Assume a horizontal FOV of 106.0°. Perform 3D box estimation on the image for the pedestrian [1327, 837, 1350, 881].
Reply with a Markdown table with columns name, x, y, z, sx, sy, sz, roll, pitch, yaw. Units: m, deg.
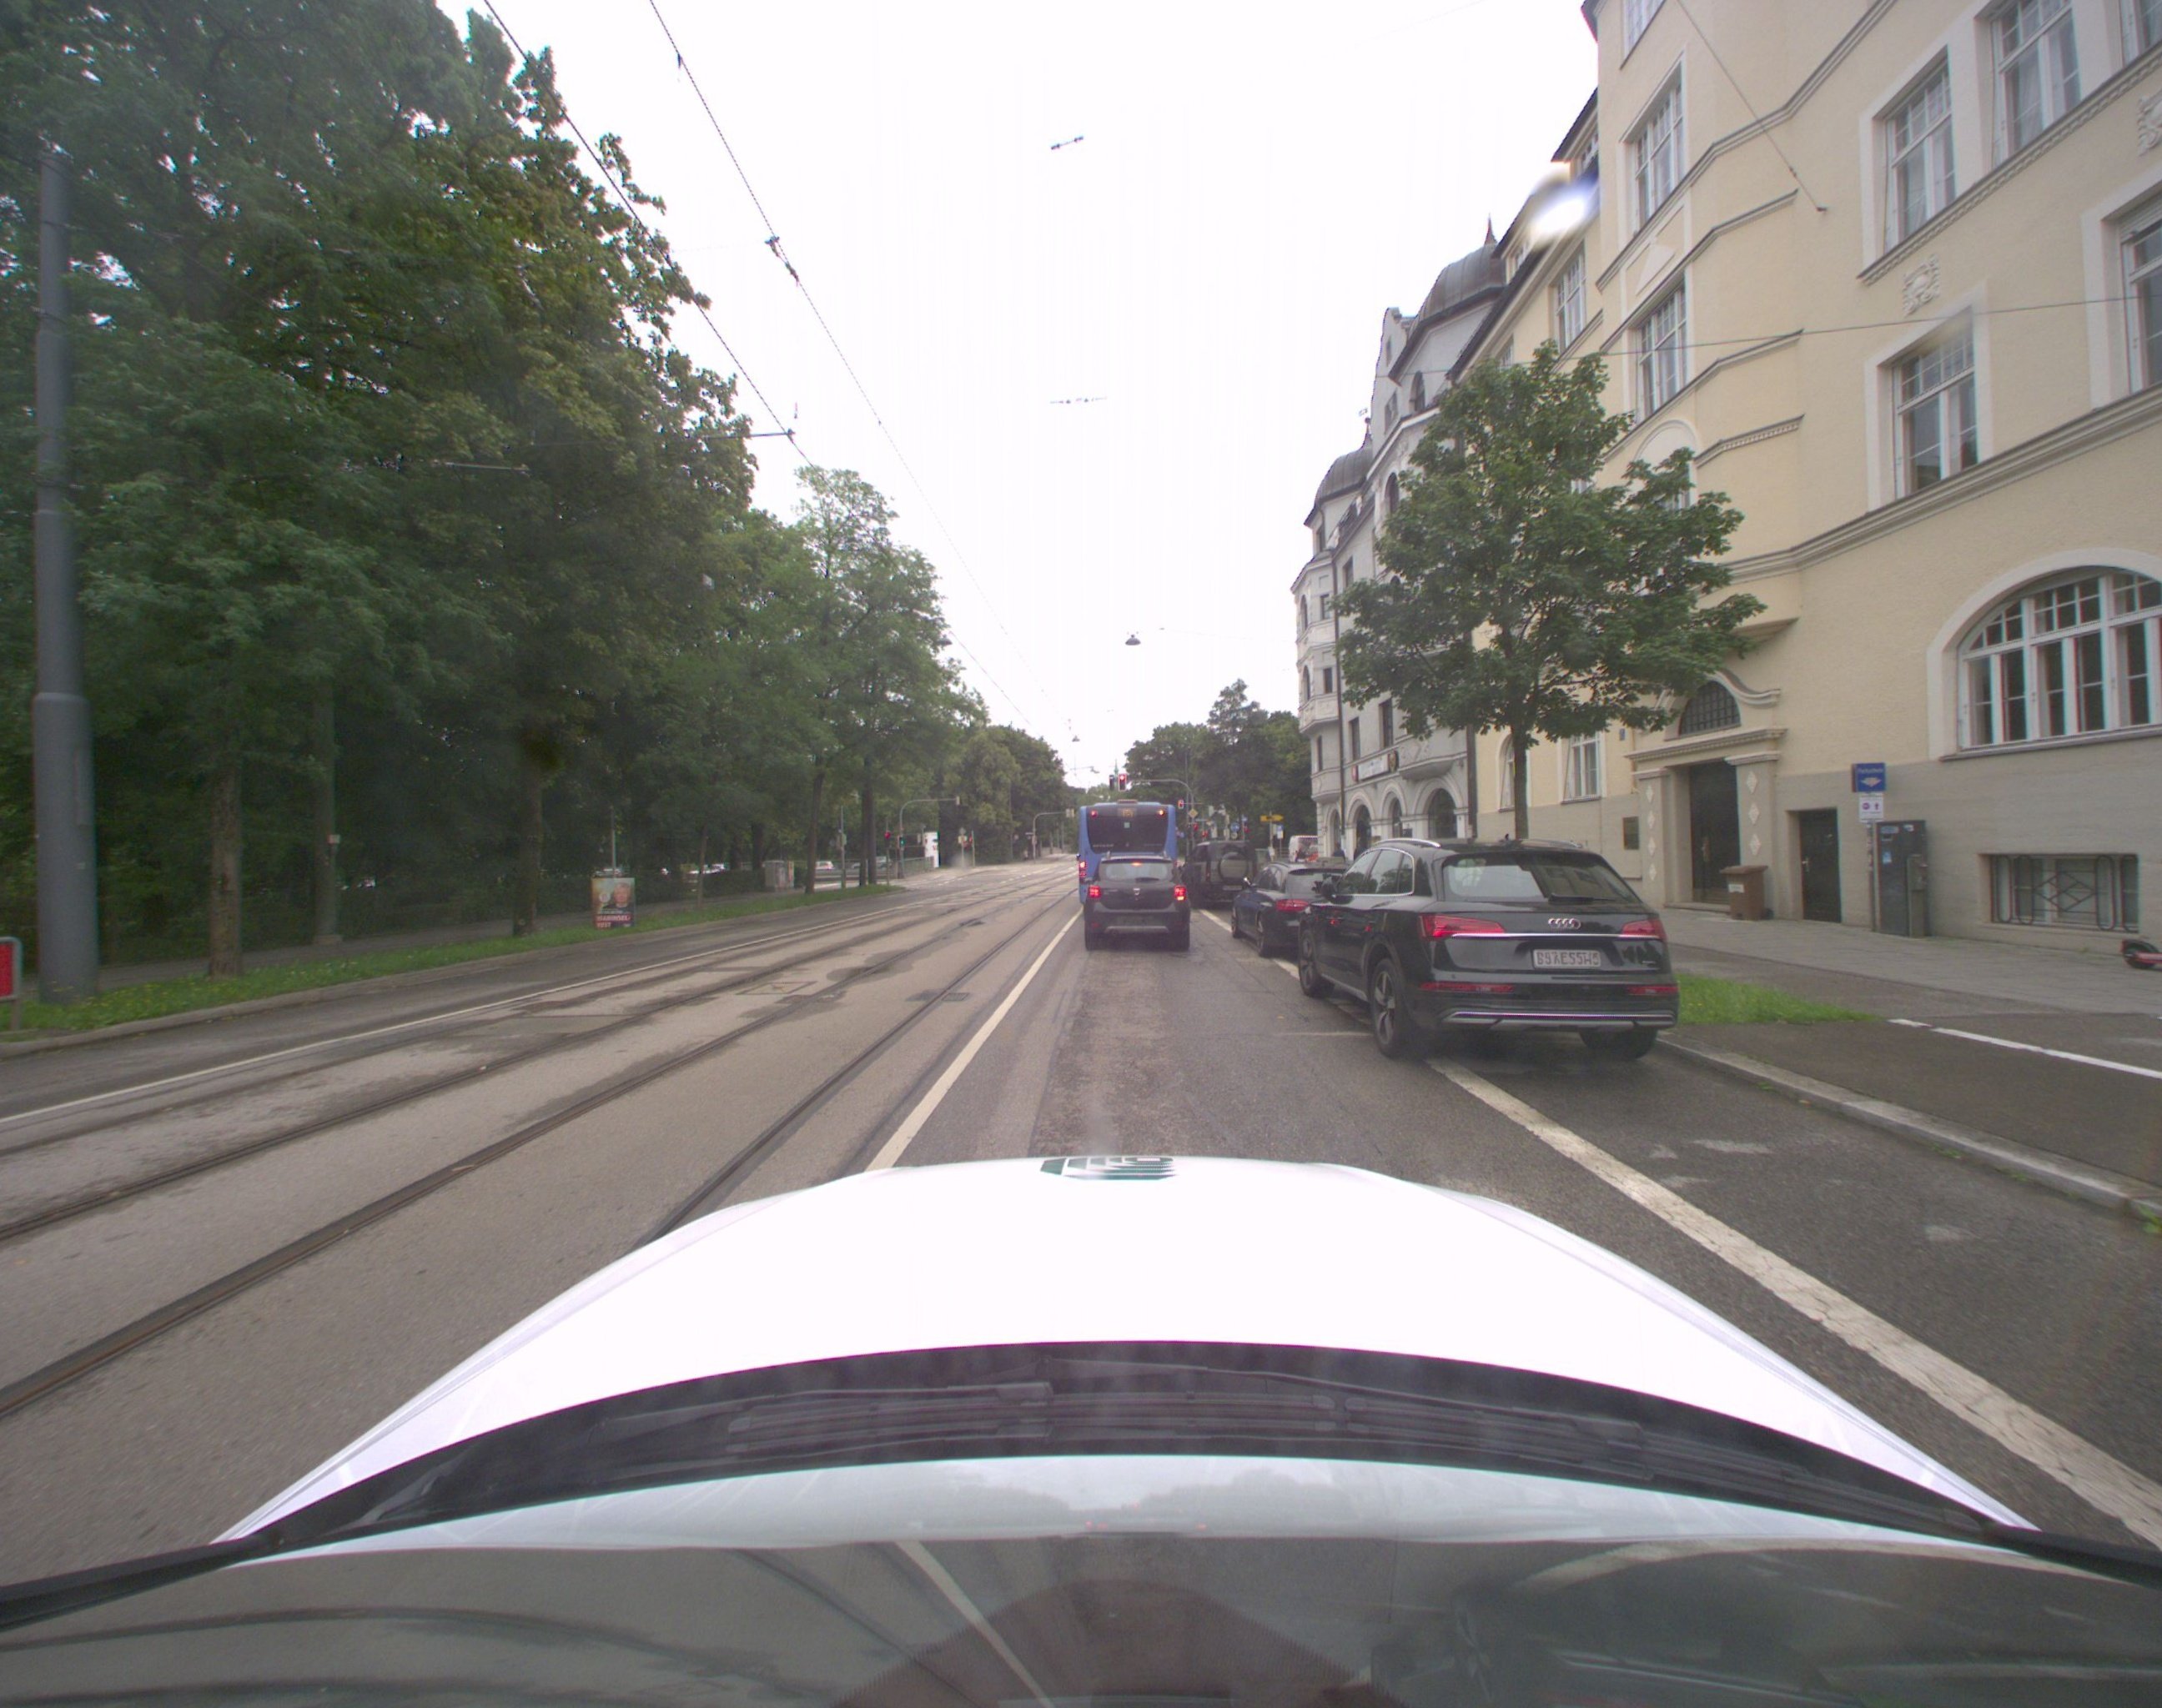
| name | x | y | z | sx | sy | sz | roll | pitch | yaw |
| --- | --- | --- | --- | --- | --- | --- | --- | --- | --- |
| pedestrian | 10.639 | 0.213 | 33.635 | 0.702 | 1.816 | 0.870 | 0 | -1 | 3 |

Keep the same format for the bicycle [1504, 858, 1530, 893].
| name | x | y | z | sx | sy | sz | roll | pitch | yaw |
| --- | --- | --- | --- | --- | --- | --- | --- | --- | --- |
| bicycle | 11.802 | 0.582 | 22.045 | 0.271 | 0.930 | 0.887 | 0 | 0 | 4 |

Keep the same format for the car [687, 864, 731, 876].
| name | x | y | z | sx | sy | sz | roll | pitch | yaw |
| --- | --- | --- | --- | --- | --- | --- | --- | --- | --- |
| car | -37.169 | 1.566 | 81.422 | 3.719 | 1.185 | 1.249 | 0 | 0 | -3 |

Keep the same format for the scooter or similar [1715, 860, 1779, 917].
| name | x | y | z | sx | sy | sz | roll | pitch | yaw |
| --- | --- | --- | --- | --- | --- | --- | --- | --- | --- |
| scooter or similar | 11.429 | 0.584 | 13.997 | 0.658 | 0.946 | 0.547 | 0 | -1 | 4 |

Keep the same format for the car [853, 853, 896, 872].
| name | x | y | z | sx | sy | sz | roll | pitch | yaw |
| --- | --- | --- | --- | --- | --- | --- | --- | --- | --- |
| car | -20.788 | 0.889 | 82.058 | 4.014 | 1.887 | 1.488 | 0 | 0 | -4 |

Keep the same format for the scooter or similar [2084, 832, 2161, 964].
| name | x | y | z | sx | sy | sz | roll | pitch | yaw |
| --- | --- | --- | --- | --- | --- | --- | --- | --- | --- |
| scooter or similar | 10.841 | 0.434 | 8.141 | 0.260 | 1.313 | 1.143 | 0 | 0 | 3 |

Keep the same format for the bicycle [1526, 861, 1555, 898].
| name | x | y | z | sx | sy | sz | roll | pitch | yaw |
| --- | --- | --- | --- | --- | --- | --- | --- | --- | --- |
| bicycle | 11.673 | 0.635 | 20.711 | 0.284 | 0.930 | 0.887 | 0 | 0 | 4 |

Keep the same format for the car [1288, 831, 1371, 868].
| name | x | y | z | sx | sy | sz | roll | pitch | yaw |
| --- | --- | --- | --- | --- | --- | --- | --- | --- | --- |
| car | 17.804 | -0.297 | 58.558 | 5.278 | 2.612 | 2.230 | 0 | 0 | 0 |

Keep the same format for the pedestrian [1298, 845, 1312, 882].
| name | x | y | z | sx | sy | sz | roll | pitch | yaw |
| --- | --- | --- | --- | --- | --- | --- | --- | --- | --- |
| pedestrian | 12.384 | 0.504 | 45.036 | 0.668 | 2.014 | 0.718 | 0 | -1 | 10 |

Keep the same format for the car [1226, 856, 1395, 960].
| name | x | y | z | sx | sy | sz | roll | pitch | yaw |
| --- | --- | --- | --- | --- | --- | --- | --- | --- | --- |
| car | 3.563 | 0.758 | 13.521 | 1.709 | 1.426 | 4.605 | 0 | 0 | 2 |

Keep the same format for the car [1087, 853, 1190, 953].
| name | x | y | z | sx | sy | sz | roll | pitch | yaw |
| --- | --- | --- | --- | --- | --- | --- | --- | --- | --- |
| car | 0.968 | 0.772 | 14.408 | 1.594 | 1.556 | 3.527 | 0 | 0 | 2 |

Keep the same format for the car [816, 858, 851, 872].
| name | x | y | z | sx | sy | sz | roll | pitch | yaw |
| --- | --- | --- | --- | --- | --- | --- | --- | --- | --- |
| car | -24.899 | 1.100 | 81.856 | 3.102 | 1.452 | 1.249 | 0 | 0 | -2 |

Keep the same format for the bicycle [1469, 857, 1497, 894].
| name | x | y | z | sx | sy | sz | roll | pitch | yaw |
| --- | --- | --- | --- | --- | --- | --- | --- | --- | --- |
| bicycle | 11.544 | 0.594 | 23.400 | 0.241 | 1.039 | 1.224 | 0 | 0 | 3 |

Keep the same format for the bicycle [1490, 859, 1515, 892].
| name | x | y | z | sx | sy | sz | roll | pitch | yaw |
| --- | --- | --- | --- | --- | --- | --- | --- | --- | --- |
| bicycle | 11.914 | 0.597 | 23.012 | 0.304 | 0.930 | 0.887 | 0 | 0 | 5 |

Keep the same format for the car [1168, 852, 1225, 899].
| name | x | y | z | sx | sy | sz | roll | pitch | yaw |
| --- | --- | --- | --- | --- | --- | --- | --- | --- | --- |
| car | 4.148 | 0.740 | 29.768 | 1.707 | 1.591 | 4.330 | 0 | 0 | 3 |

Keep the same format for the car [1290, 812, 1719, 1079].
| name | x | y | z | sx | sy | sz | roll | pitch | yaw |
| --- | --- | --- | --- | --- | --- | --- | --- | --- | --- |
| car | 3.222 | 0.585 | 7.356 | 1.767 | 1.658 | 4.492 | 0 | 0 | 4 |

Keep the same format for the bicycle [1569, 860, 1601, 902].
| name | x | y | z | sx | sy | sz | roll | pitch | yaw |
| --- | --- | --- | --- | --- | --- | --- | --- | --- | --- |
| bicycle | 11.621 | 0.613 | 18.782 | 0.220 | 0.930 | 0.886 | 0 | 0 | 2 |

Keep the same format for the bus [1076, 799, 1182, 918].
| name | x | y | z | sx | sy | sz | roll | pitch | yaw |
| --- | --- | --- | --- | --- | --- | --- | --- | --- | --- |
| bus | 1.279 | 0.126 | 23.970 | 2.669 | 2.997 | 6.962 | 0 | 0 | 1 |

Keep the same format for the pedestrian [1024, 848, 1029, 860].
| name | x | y | z | sx | sy | sz | roll | pitch | yaw |
| --- | --- | --- | --- | --- | --- | --- | --- | --- | --- |
| pedestrian | -6.587 | 0.005 | 98.583 | 0.529 | 1.501 | 0.589 | 0 | -1 | 7 |

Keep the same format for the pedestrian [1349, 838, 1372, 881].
| name | x | y | z | sx | sy | sz | roll | pitch | yaw |
| --- | --- | --- | --- | --- | --- | --- | --- | --- | --- |
| pedestrian | 11.537 | 0.230 | 33.629 | 0.702 | 1.732 | 0.843 | 0 | -1 | 3 |

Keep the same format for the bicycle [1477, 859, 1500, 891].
| name | x | y | z | sx | sy | sz | roll | pitch | yaw |
| --- | --- | --- | --- | --- | --- | --- | --- | --- | --- |
| bicycle | 11.996 | 0.603 | 23.970 | 0.289 | 0.930 | 0.887 | 0 | 0 | 4 |

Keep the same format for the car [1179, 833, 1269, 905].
| name | x | y | z | sx | sy | sz | roll | pitch | yaw |
| --- | --- | --- | --- | --- | --- | --- | --- | --- | --- |
| car | 4.116 | 0.409 | 24.175 | 1.907 | 1.906 | 4.808 | 0 | 0 | 1 |
